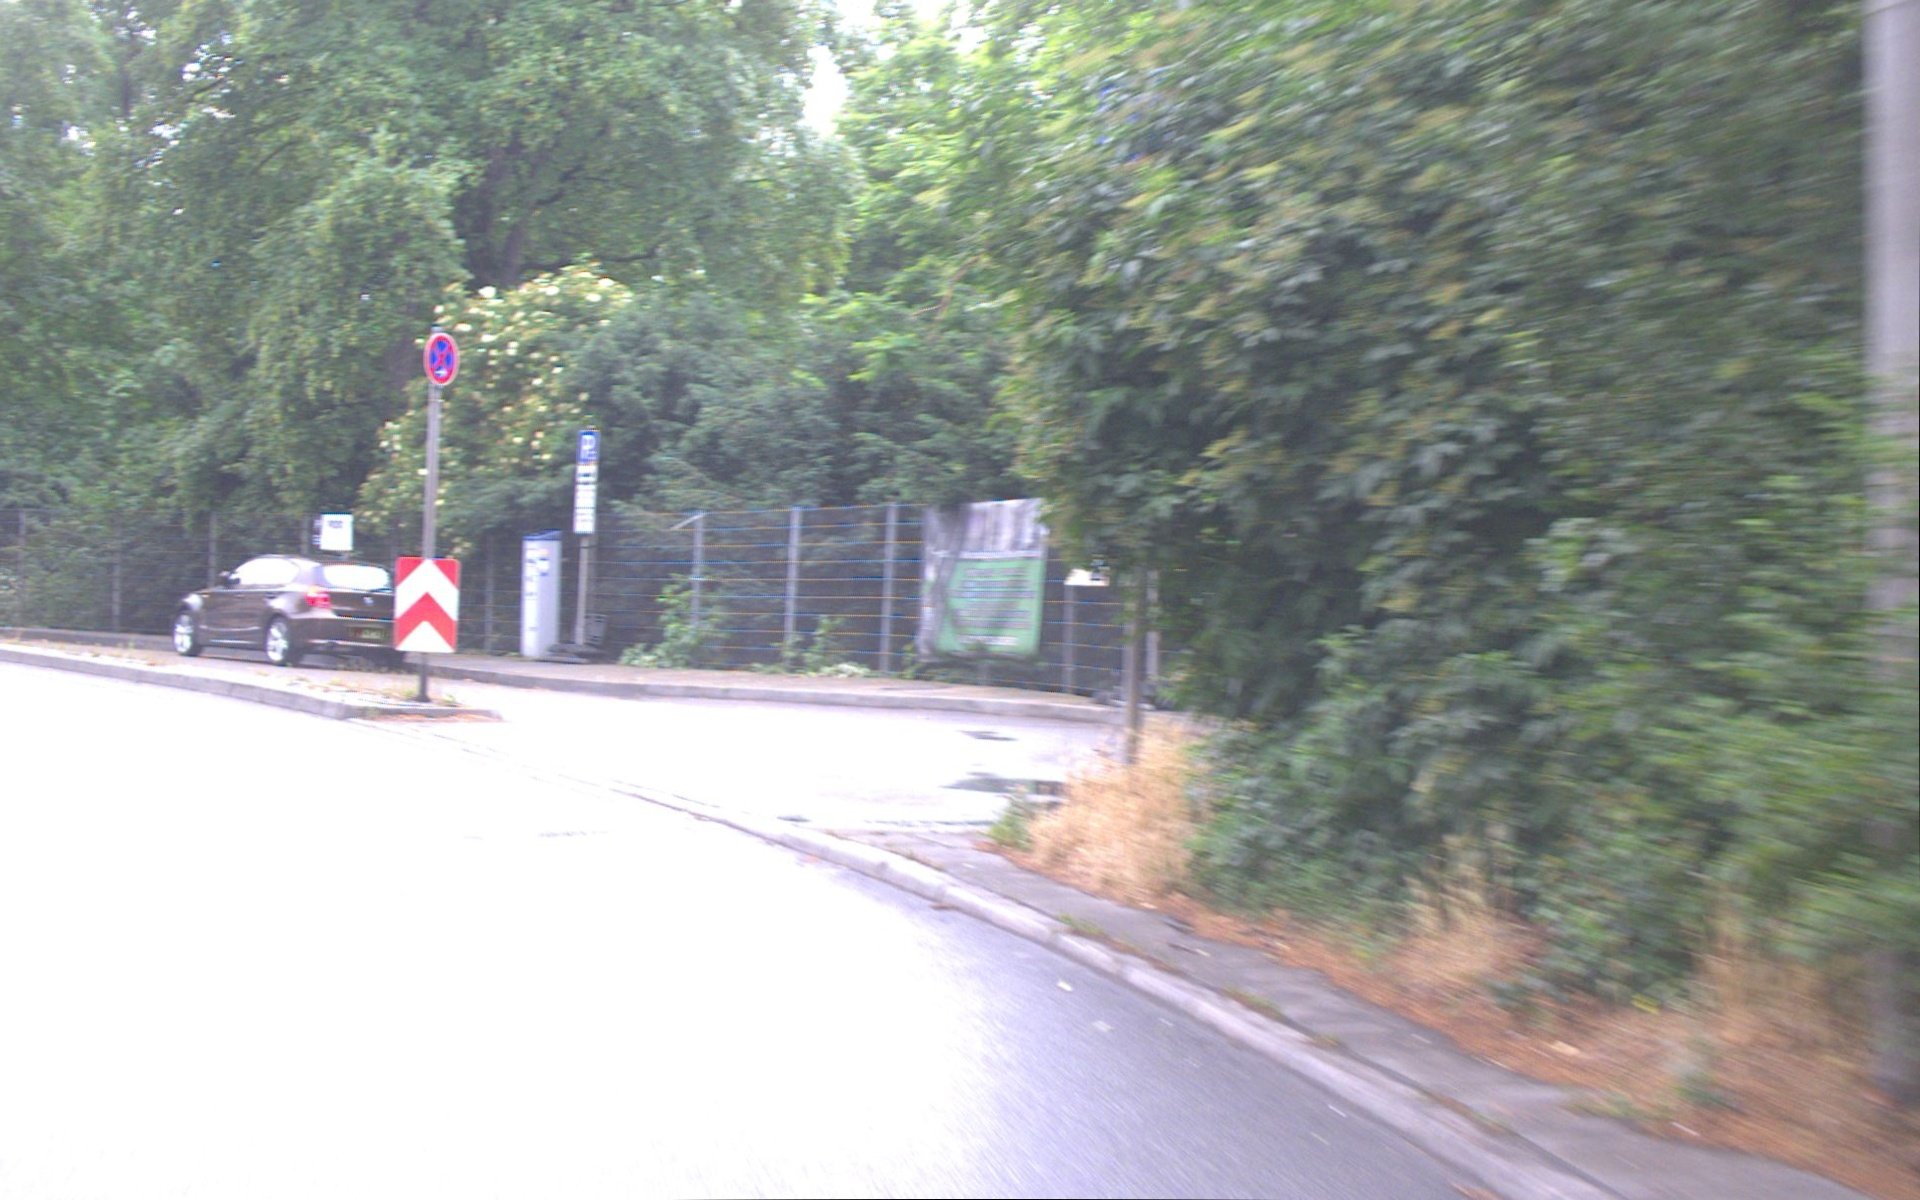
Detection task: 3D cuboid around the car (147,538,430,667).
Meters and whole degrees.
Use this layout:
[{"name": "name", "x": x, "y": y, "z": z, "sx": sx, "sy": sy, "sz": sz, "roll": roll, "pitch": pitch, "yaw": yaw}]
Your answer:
[{"name": "car", "x": -8.706, "y": 0.006, "z": 44.316, "sx": 1.687, "sy": 1.422, "sz": 4.370, "roll": 4, "pitch": -1, "yaw": -38}]
